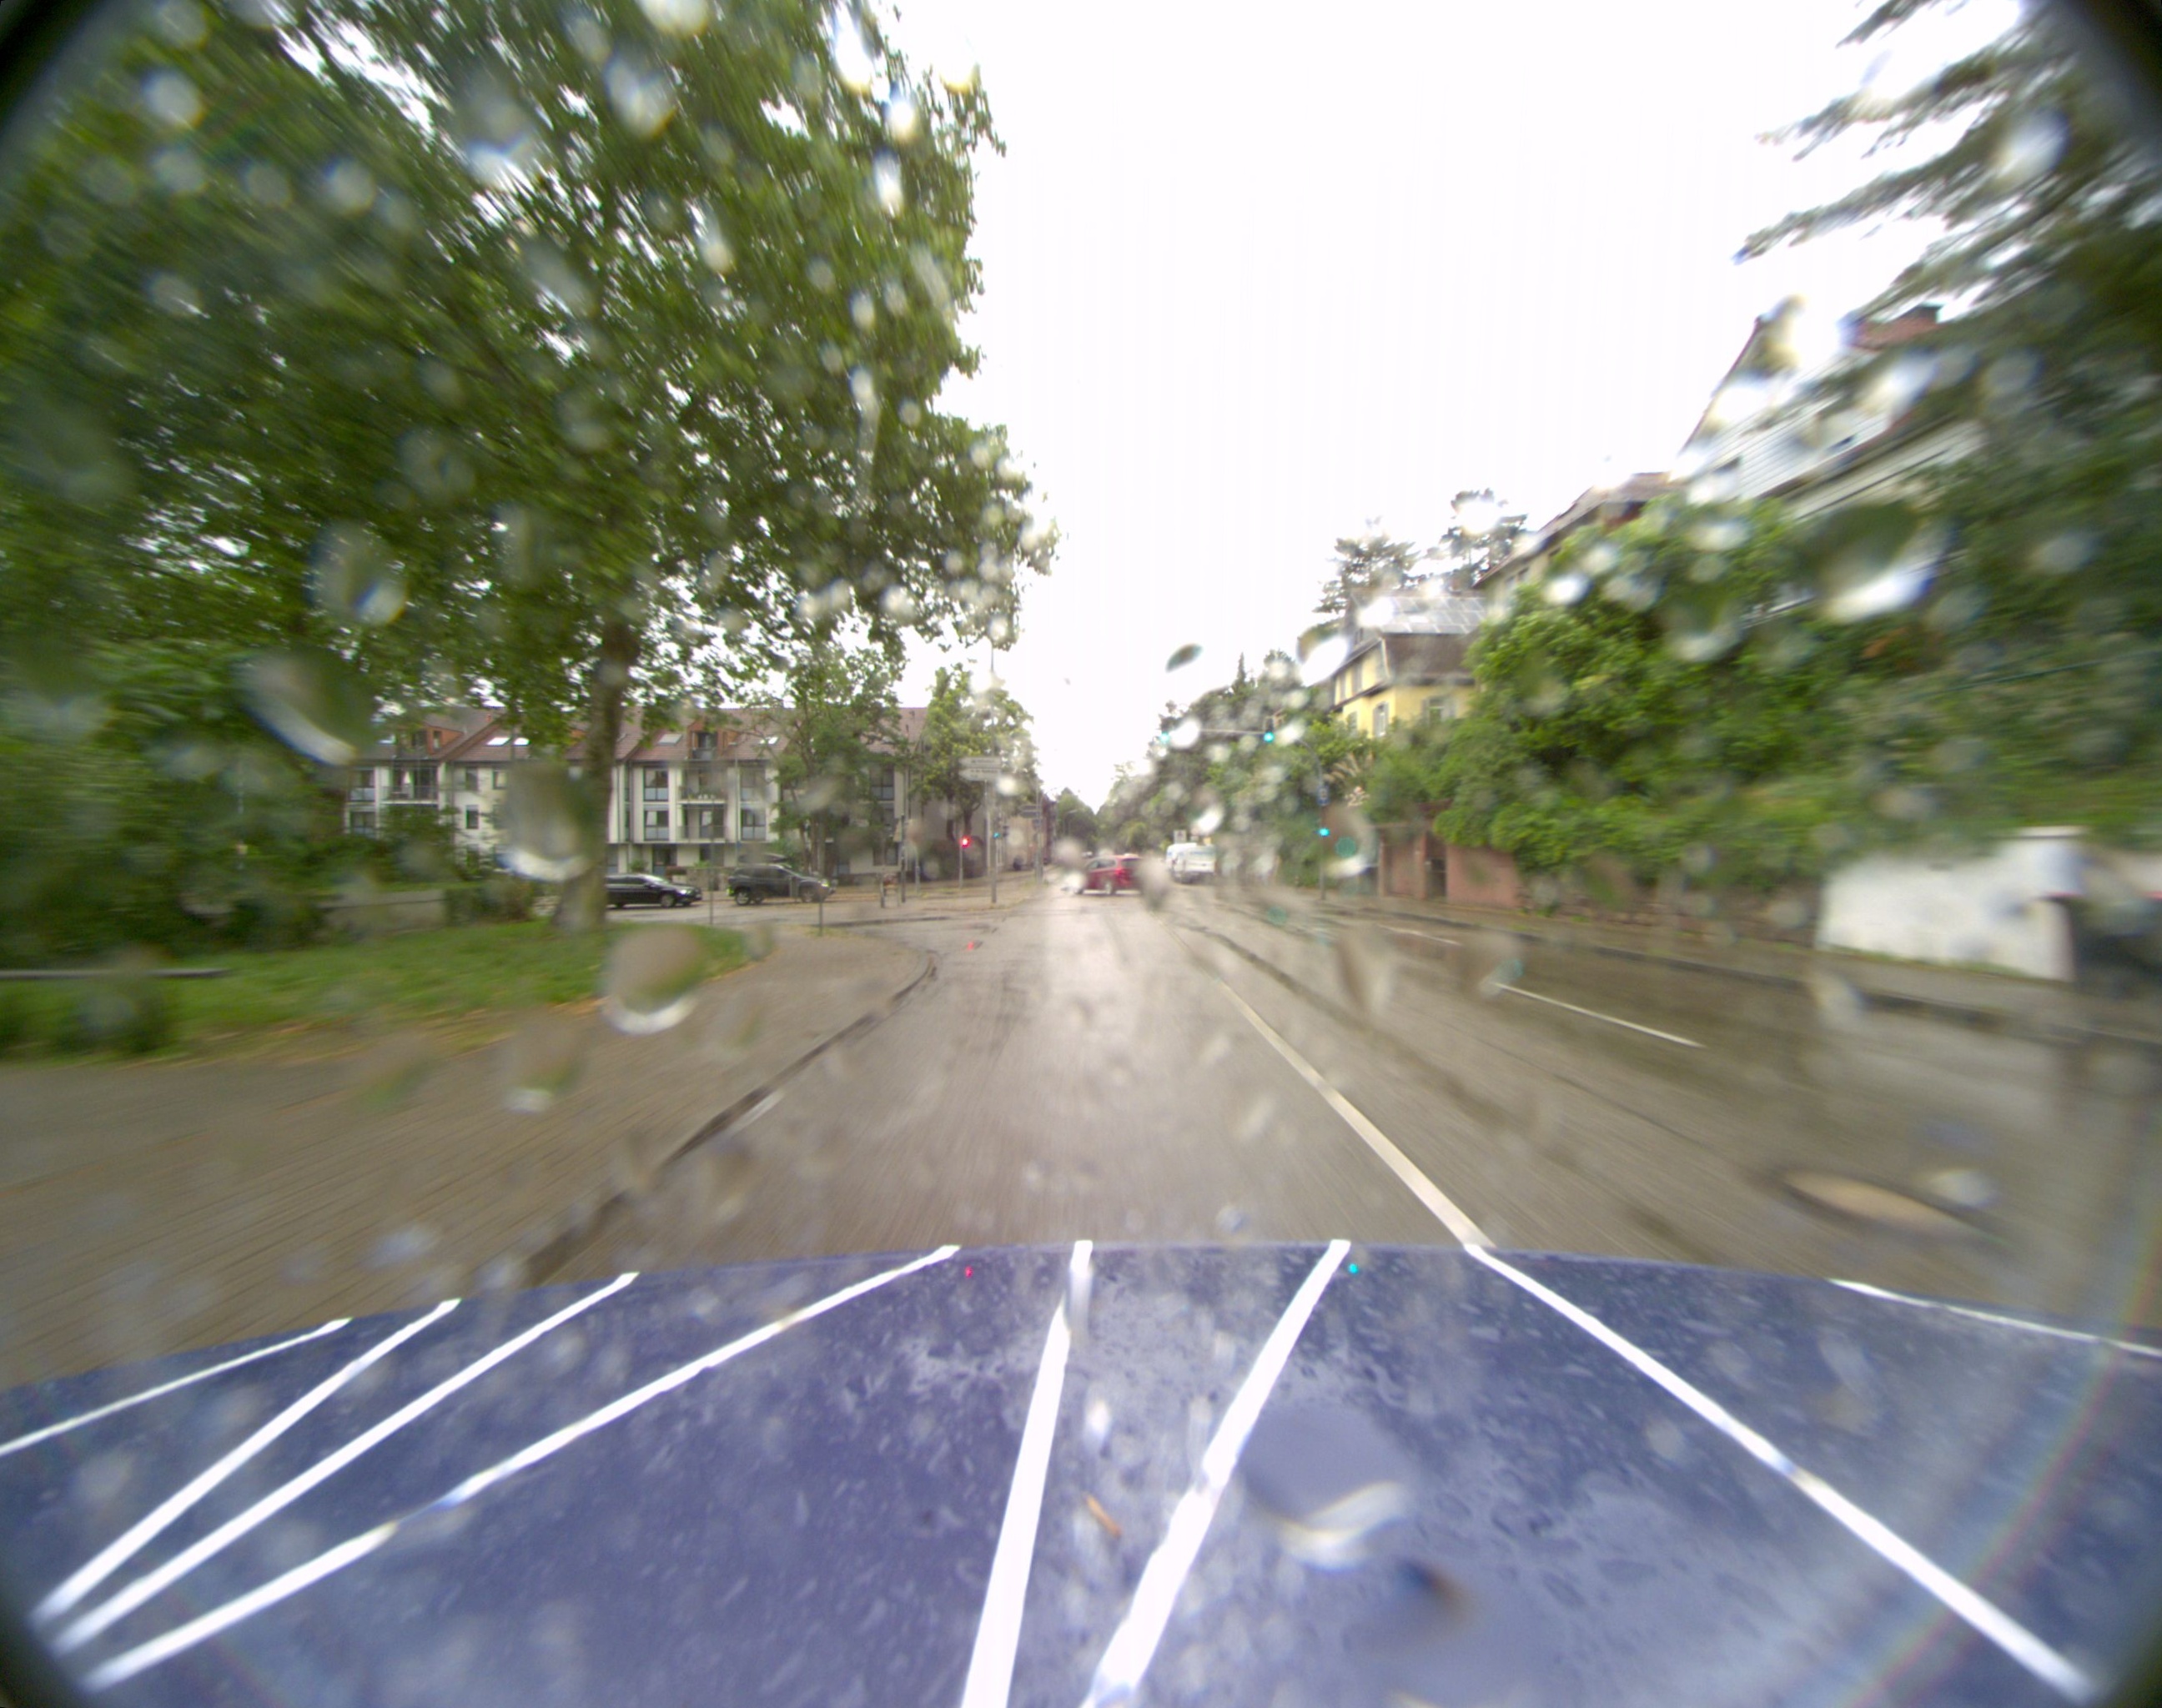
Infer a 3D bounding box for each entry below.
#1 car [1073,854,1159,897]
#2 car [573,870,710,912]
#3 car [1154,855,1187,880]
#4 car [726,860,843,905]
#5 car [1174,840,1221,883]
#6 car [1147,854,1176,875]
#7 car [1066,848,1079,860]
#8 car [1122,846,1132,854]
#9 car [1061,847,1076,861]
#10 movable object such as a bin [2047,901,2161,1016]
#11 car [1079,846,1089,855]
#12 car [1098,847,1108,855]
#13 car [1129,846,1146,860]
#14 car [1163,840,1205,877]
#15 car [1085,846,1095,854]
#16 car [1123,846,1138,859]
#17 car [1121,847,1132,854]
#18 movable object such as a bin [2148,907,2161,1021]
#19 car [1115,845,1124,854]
[{"bbox_3d":[1.371,0.831,31.570,1.797,1.600,4.084,-1,1,-27],"label":"car"},{"bbox_3d":[-18.127,1.504,31.490,4.623,1.438,1.609,-1,3,-5],"label":"car"},{"bbox_3d":[7.643,1.135,65.391,2.162,1.944,4.915,3,1,0],"label":"car"},{"bbox_3d":[-12.401,1.185,32.016,4.227,1.677,1.709,-2,1,-5],"label":"car"},{"bbox_3d":[7.269,0.433,47.830,2.085,2.464,4.853,3,1,0],"label":"car"},{"bbox_3d":[7.575,0.928,72.028,2.162,1.815,4.915,3,1,0],"label":"car"},{"bbox_3d":[-1.335,-0.067,123.762,1.925,1.889,4.000,-1,1,1],"label":"car"},{"bbox_3d":[10.792,-0.988,178.318,1.923,1.889,4.003,-1,1,10],"label":"car"},{"bbox_3d":[-1.734,-0.049,104.472,1.925,1.889,4.000,-1,1,1],"label":"car"},{"bbox_3d":[10.317,1.012,7.522,0.683,1.034,0.657,-1,1,-1],"label":"movable object such as a bin"},{"bbox_3d":[0.701,-0.848,174.355,1.924,1.889,4.002,-1,1,7],"label":"car"},{"bbox_3d":[5.928,-0.854,201.374,1.923,1.889,4.003,-1,1,13],"label":"car"},{"bbox_3d":[7.313,-0.120,98.858,1.925,1.747,4.000,-1,1,1],"label":"car"},{"bbox_3d":[7.315,0.308,54.336,2.162,2.454,4.915,3,1,0],"label":"car"},{"bbox_3d":[2.100,-0.885,184.351,1.924,1.889,4.002,-1,1,8],"label":"car"},{"bbox_3d":[7.091,-0.227,110.022,1.925,1.889,4.000,-1,1,1],"label":"car"},{"bbox_3d":[13.095,-1.102,218.614,1.995,2.002,4.006,-1,1,26],"label":"car"},{"bbox_3d":[10.232,1.006,6.717,0.683,1.034,0.657,-1,1,-1],"label":"movable object such as a bin"},{"bbox_3d":[8.546,-0.926,168.445,1.924,1.889,4.001,-1,1,6],"label":"car"}]
